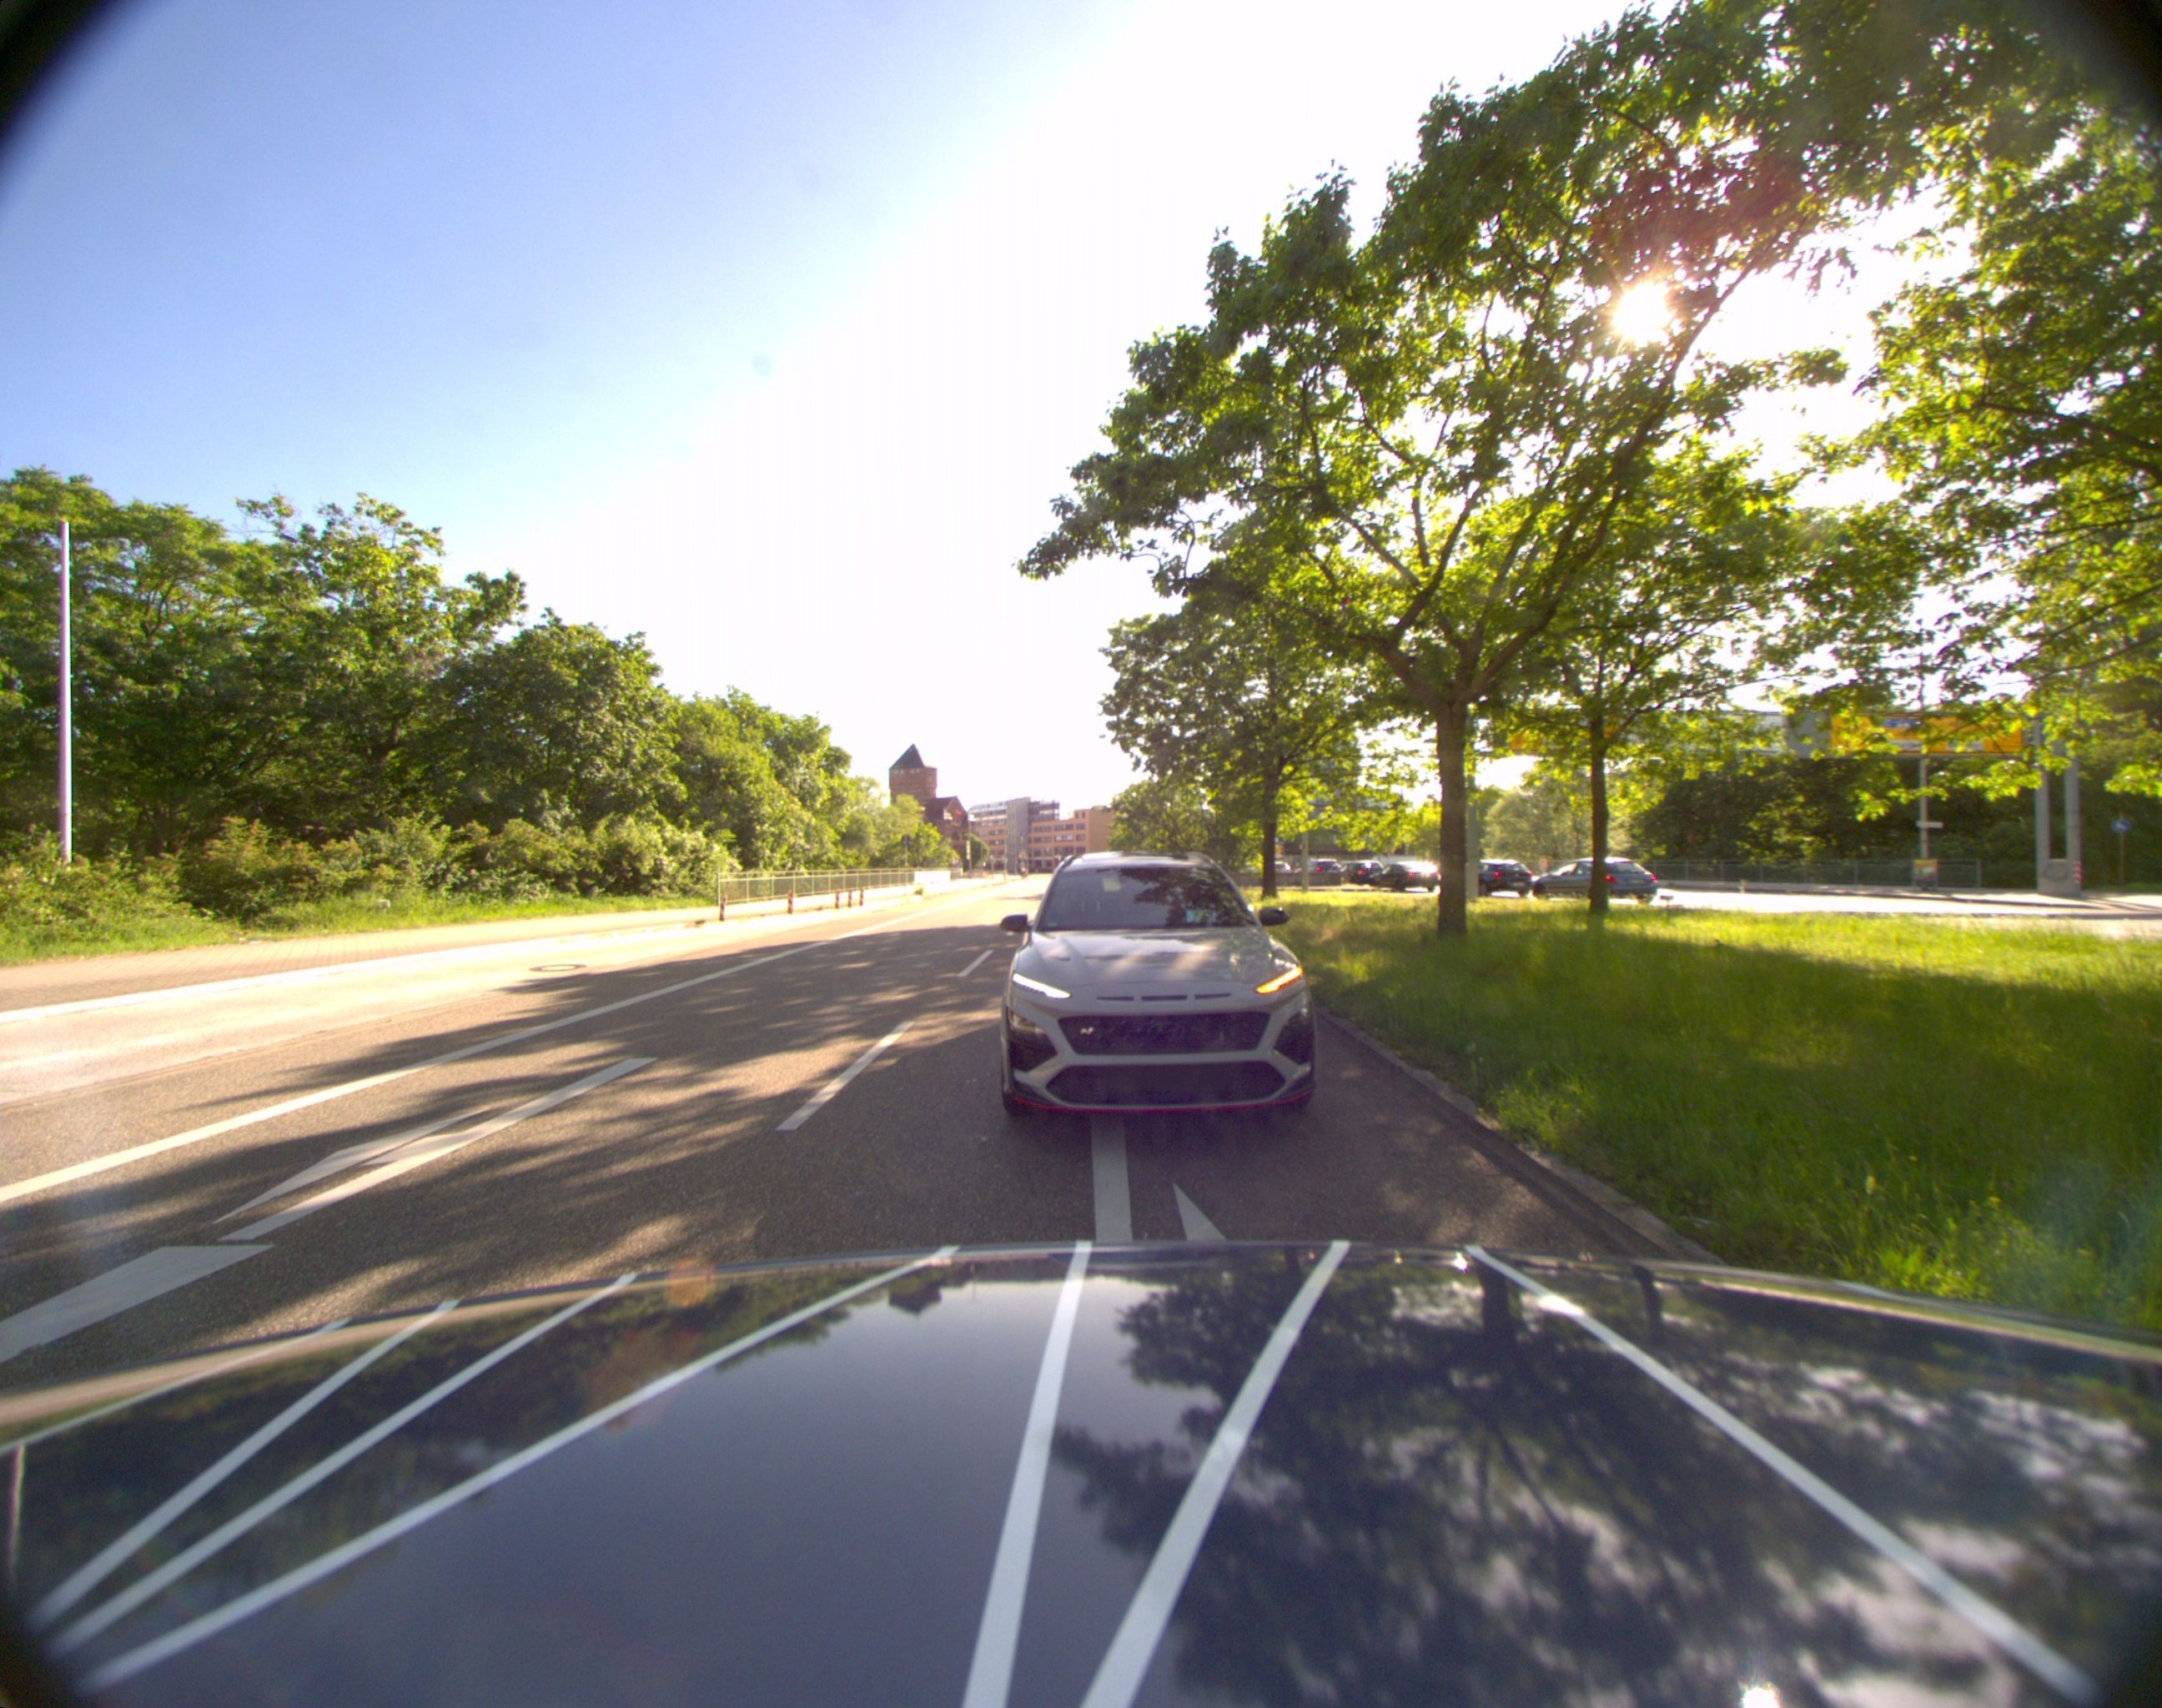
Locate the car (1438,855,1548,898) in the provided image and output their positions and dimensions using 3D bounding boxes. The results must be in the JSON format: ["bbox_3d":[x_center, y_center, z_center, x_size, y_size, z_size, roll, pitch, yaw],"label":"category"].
[{"bbox_3d":[16.186,0.848,30.146,1.875,1.541,4.221,-1,0,-4],"label":"car"}]

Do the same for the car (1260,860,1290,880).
[{"bbox_3d":[14.319,1.210,56.127,1.228,1.331,2.882,-1,-3,-6],"label":"car"}]

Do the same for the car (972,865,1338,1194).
[{"bbox_3d":[0.386,0.884,5.684,1.752,1.523,3.988,-1,0,1],"label":"car"}]

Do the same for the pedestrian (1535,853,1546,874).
[{"bbox_3d":[32.667,0.669,53.977,0.421,1.490,0.545,-1,0,-7],"label":"pedestrian"}]

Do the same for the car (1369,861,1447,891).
[{"bbox_3d":[15.474,0.999,36.219,1.623,1.305,4.066,-1,0,-6],"label":"car"}]

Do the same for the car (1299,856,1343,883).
[{"bbox_3d":[14.969,0.994,47.535,1.450,1.549,3.202,-1,-2,-6],"label":"car"}]

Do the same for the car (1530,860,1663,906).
[{"bbox_3d":[16.375,0.885,24.374,1.561,1.355,3.608,-1,-1,-6],"label":"car"}]

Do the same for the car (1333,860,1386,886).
[{"bbox_3d":[15.150,1.035,41.475,1.481,1.331,3.202,-1,-1,-6],"label":"car"}]

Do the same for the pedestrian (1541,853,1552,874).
[{"bbox_3d":[33.105,0.652,54.004,0.421,1.490,0.545,-1,0,-7],"label":"pedestrian"}]

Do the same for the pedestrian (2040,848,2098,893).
[{"bbox_3d":[36.396,0.605,28.004,0.915,1.620,0.987,-1,0,-12],"label":"pedestrian"}]

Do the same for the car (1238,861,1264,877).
[{"bbox_3d":[13.933,1.282,62.418,1.199,1.252,2.768,-1,-2,-6],"label":"car"}]
